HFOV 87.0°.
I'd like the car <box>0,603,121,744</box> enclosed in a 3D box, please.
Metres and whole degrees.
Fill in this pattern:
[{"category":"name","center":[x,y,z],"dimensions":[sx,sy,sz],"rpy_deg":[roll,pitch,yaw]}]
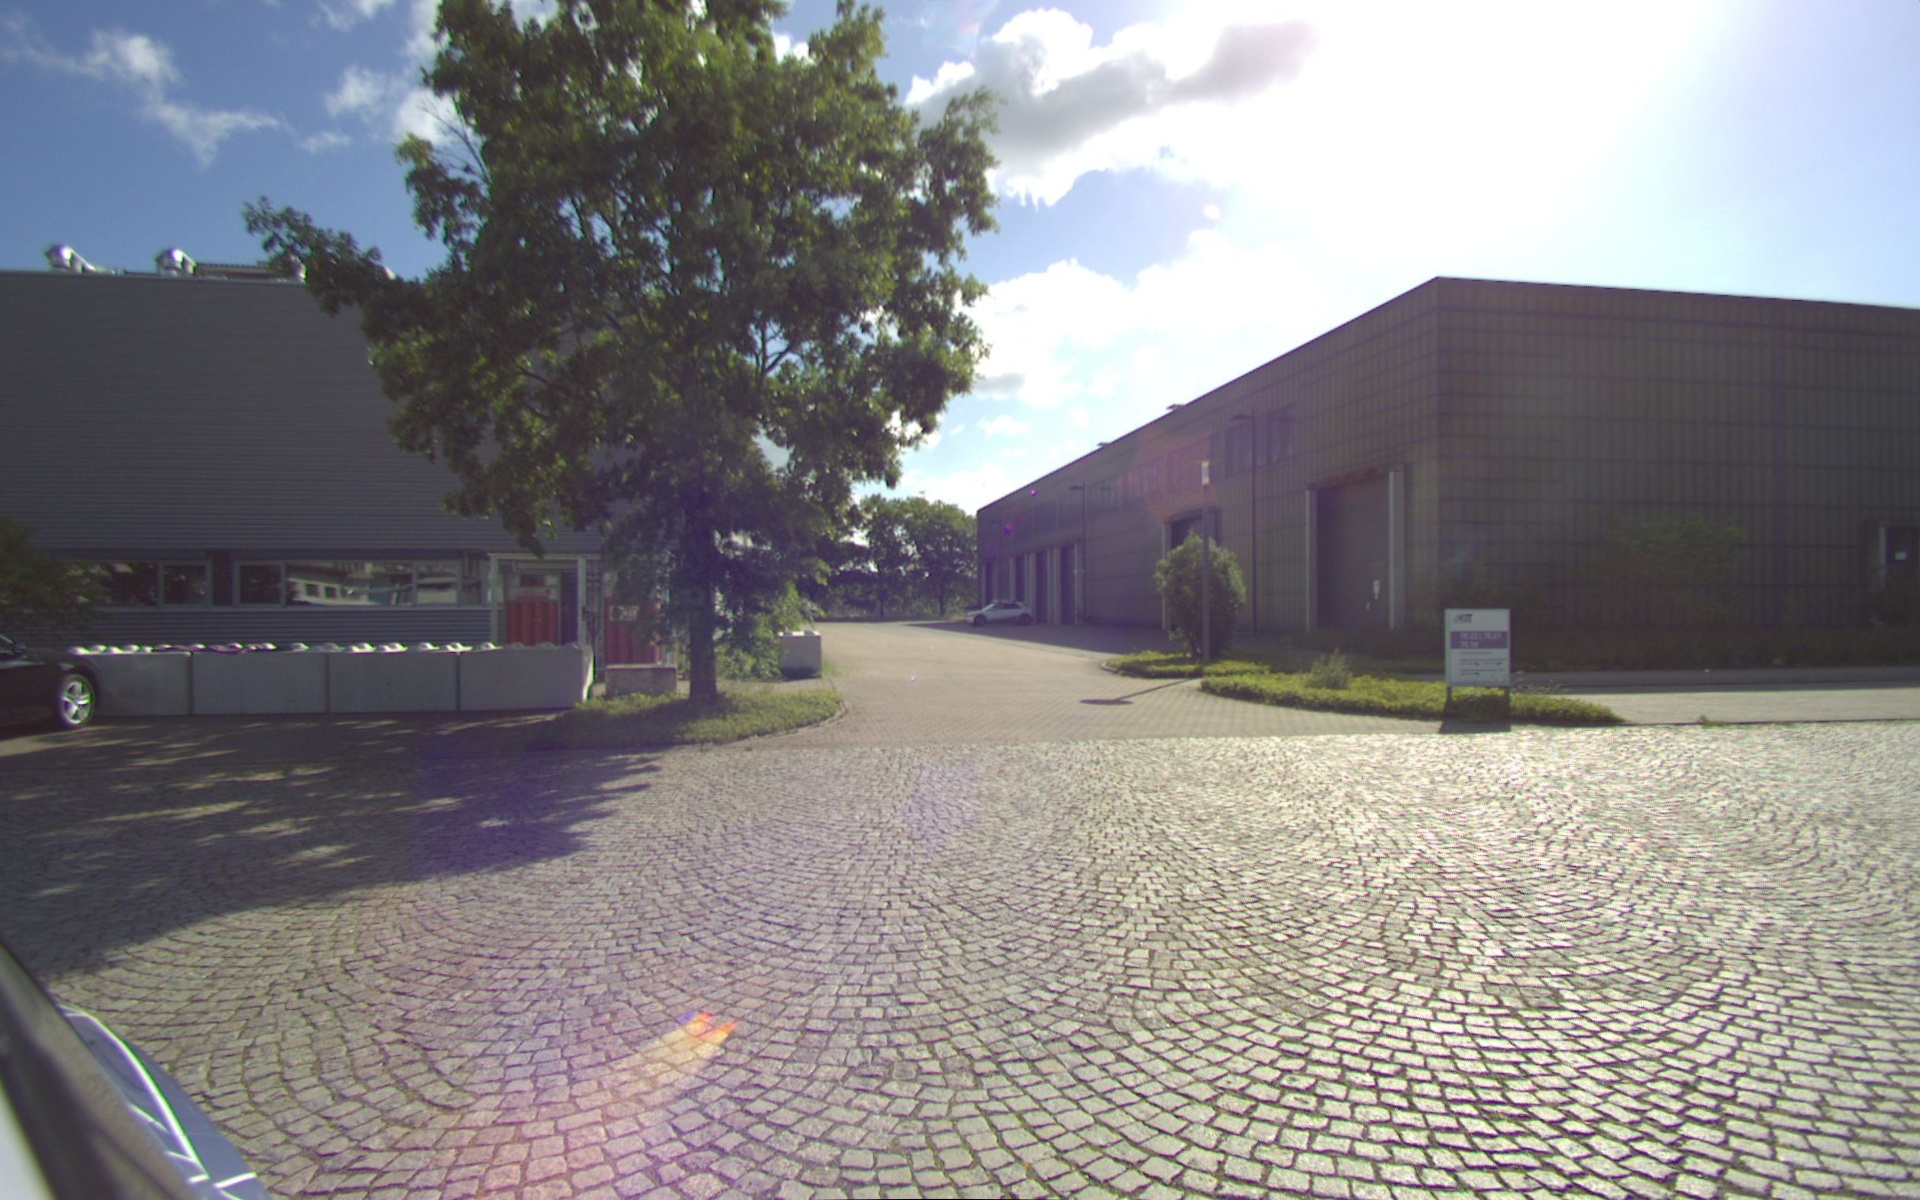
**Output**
[{"category":"car","center":[-10.768,0.791,10.016],"dimensions":[1.728,1.434,4.745],"rpy_deg":[0,1,-11]}]

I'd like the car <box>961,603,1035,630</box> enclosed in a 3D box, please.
[{"category":"car","center":[2.446,1.060,66.293],"dimensions":[4.505,1.675,2.004],"rpy_deg":[0,-1,-10]}]

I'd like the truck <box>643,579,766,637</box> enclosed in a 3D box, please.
[{"category":"truck","center":[-17.320,0.542,69.091],"dimensions":[7.973,3.847,2.655],"rpy_deg":[0,-1,-9]}]
